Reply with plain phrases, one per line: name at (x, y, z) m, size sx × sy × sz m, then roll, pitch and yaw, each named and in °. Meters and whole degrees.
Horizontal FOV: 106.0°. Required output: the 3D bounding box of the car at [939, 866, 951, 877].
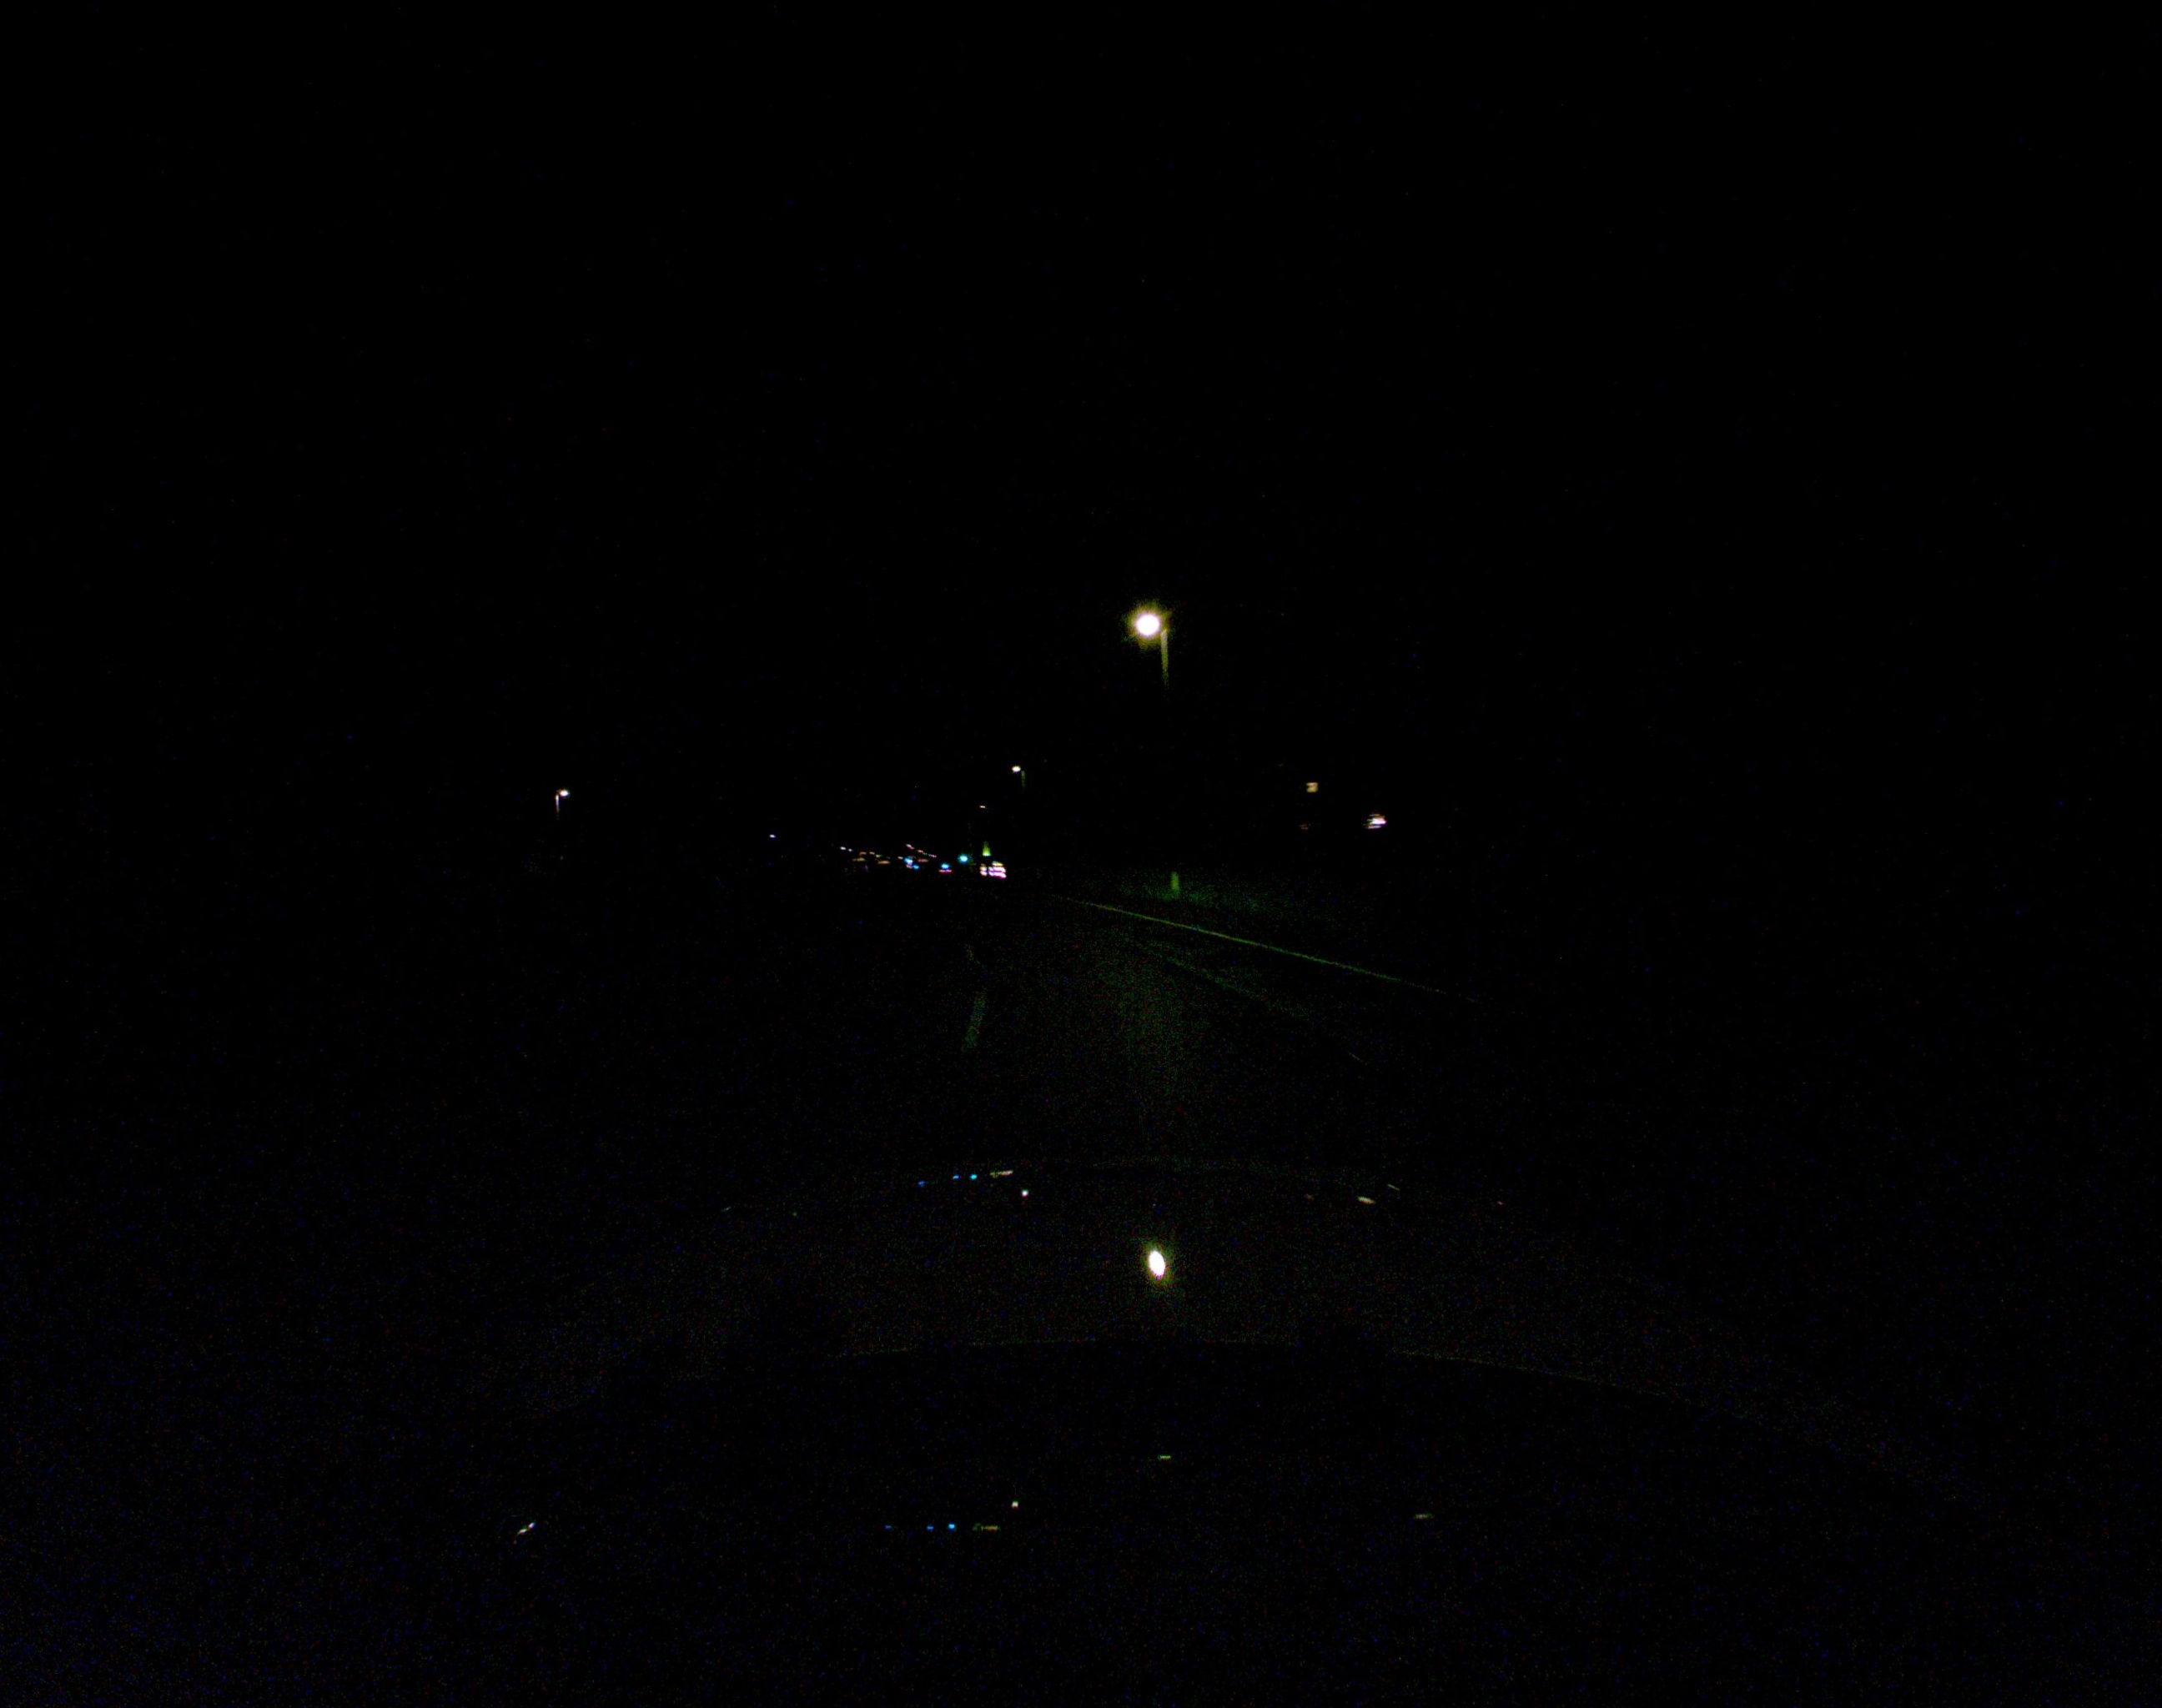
car at (-26.744, 3.396, 160.184) m, size 2.088 × 2.013 × 3.986 m, roll -3°, pitch 0°, yaw -10°

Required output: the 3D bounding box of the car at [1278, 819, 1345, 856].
car at (12.893, -0.889, 45.821) m, size 1.951 × 1.837 × 4.101 m, roll -5°, pitch 0°, yaw -9°
